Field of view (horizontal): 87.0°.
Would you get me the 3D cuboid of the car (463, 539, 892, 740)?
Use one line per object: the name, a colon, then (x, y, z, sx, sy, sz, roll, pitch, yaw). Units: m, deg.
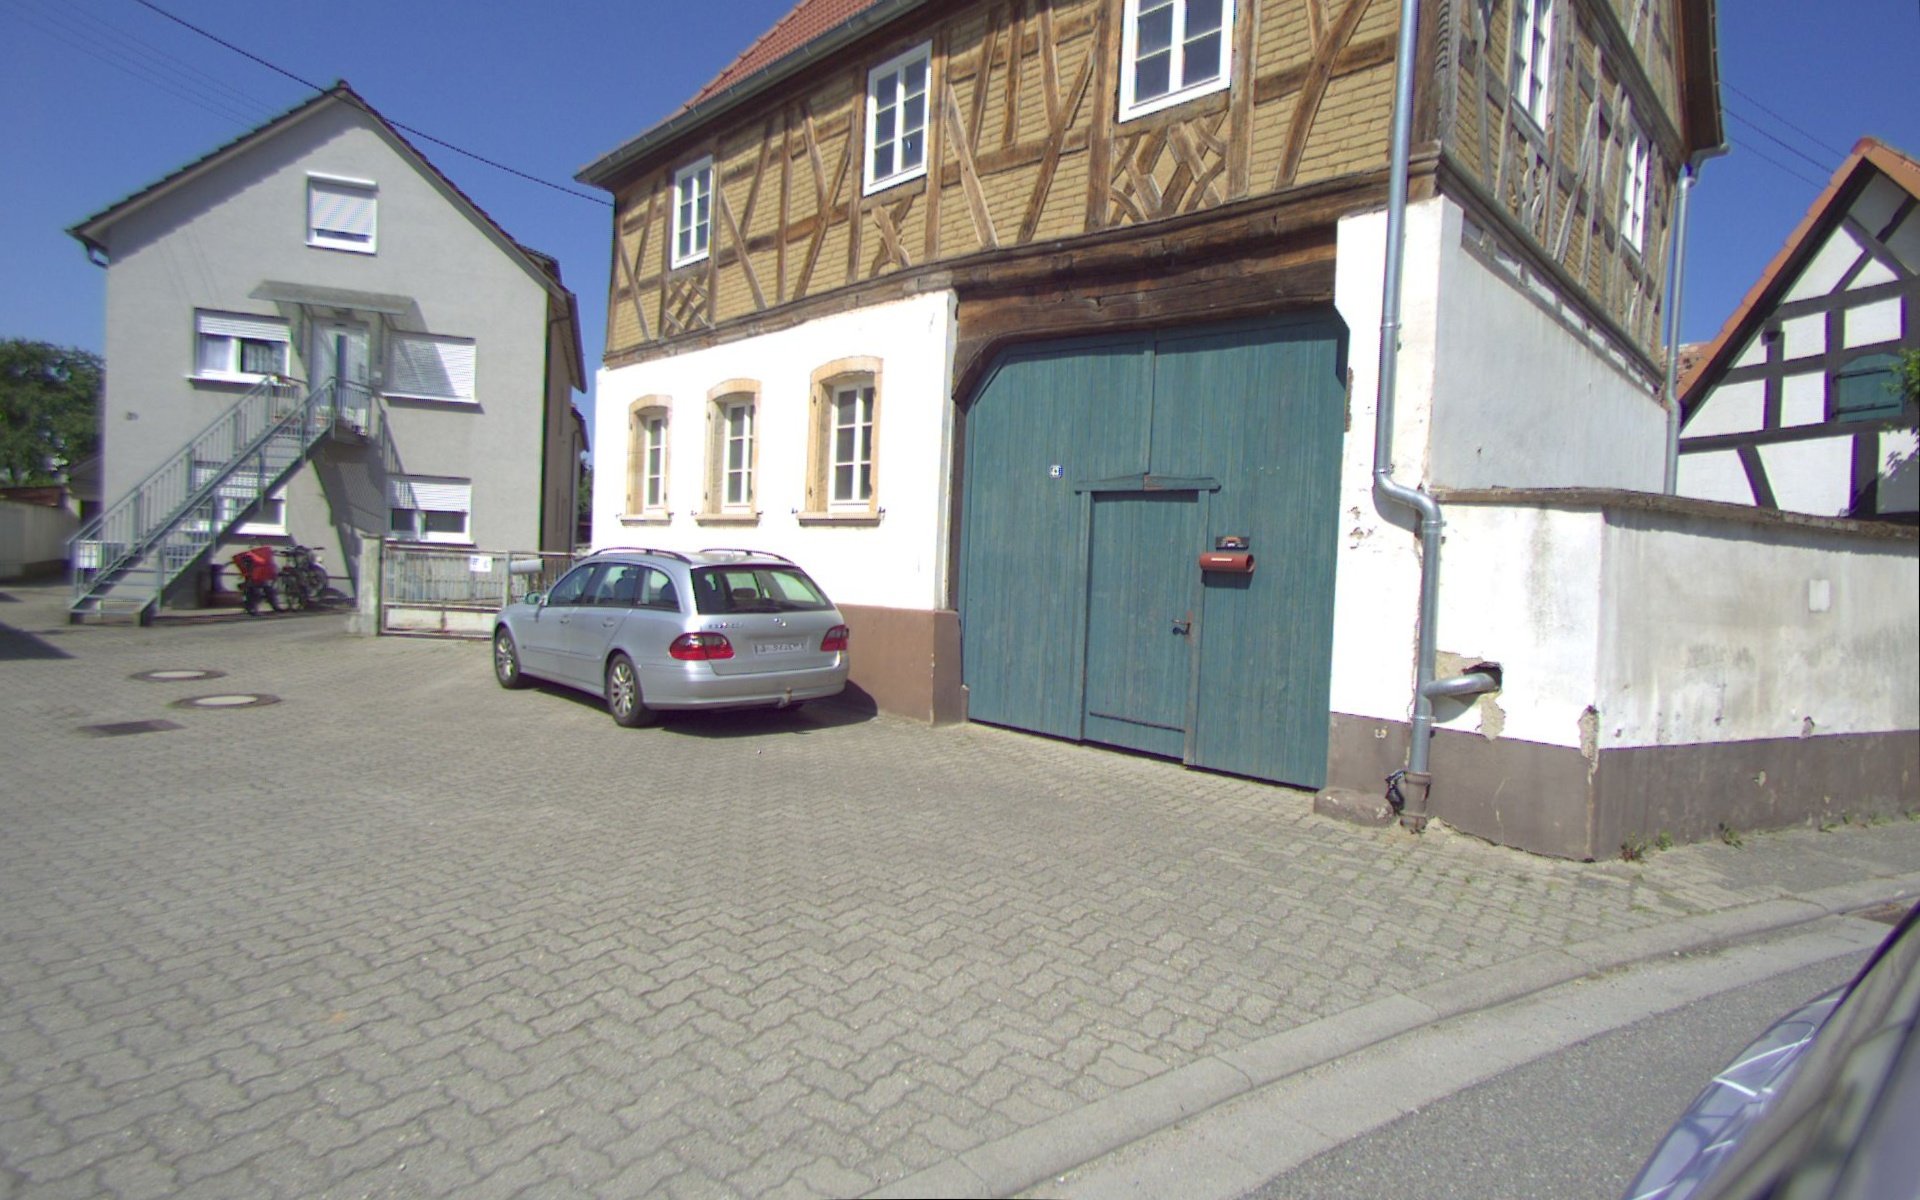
car: (-2.959, 0.203, 9.821, 1.967, 1.470, 4.756, 1, 2, -44)

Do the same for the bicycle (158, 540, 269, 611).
bicycle: (-13.008, -0.463, 17.694, 0.519, 1.072, 1.768, 2, 6, 4)

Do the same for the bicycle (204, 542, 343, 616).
bicycle: (-11.588, -0.393, 17.203, 0.519, 1.143, 2.515, 2, 3, 4)
